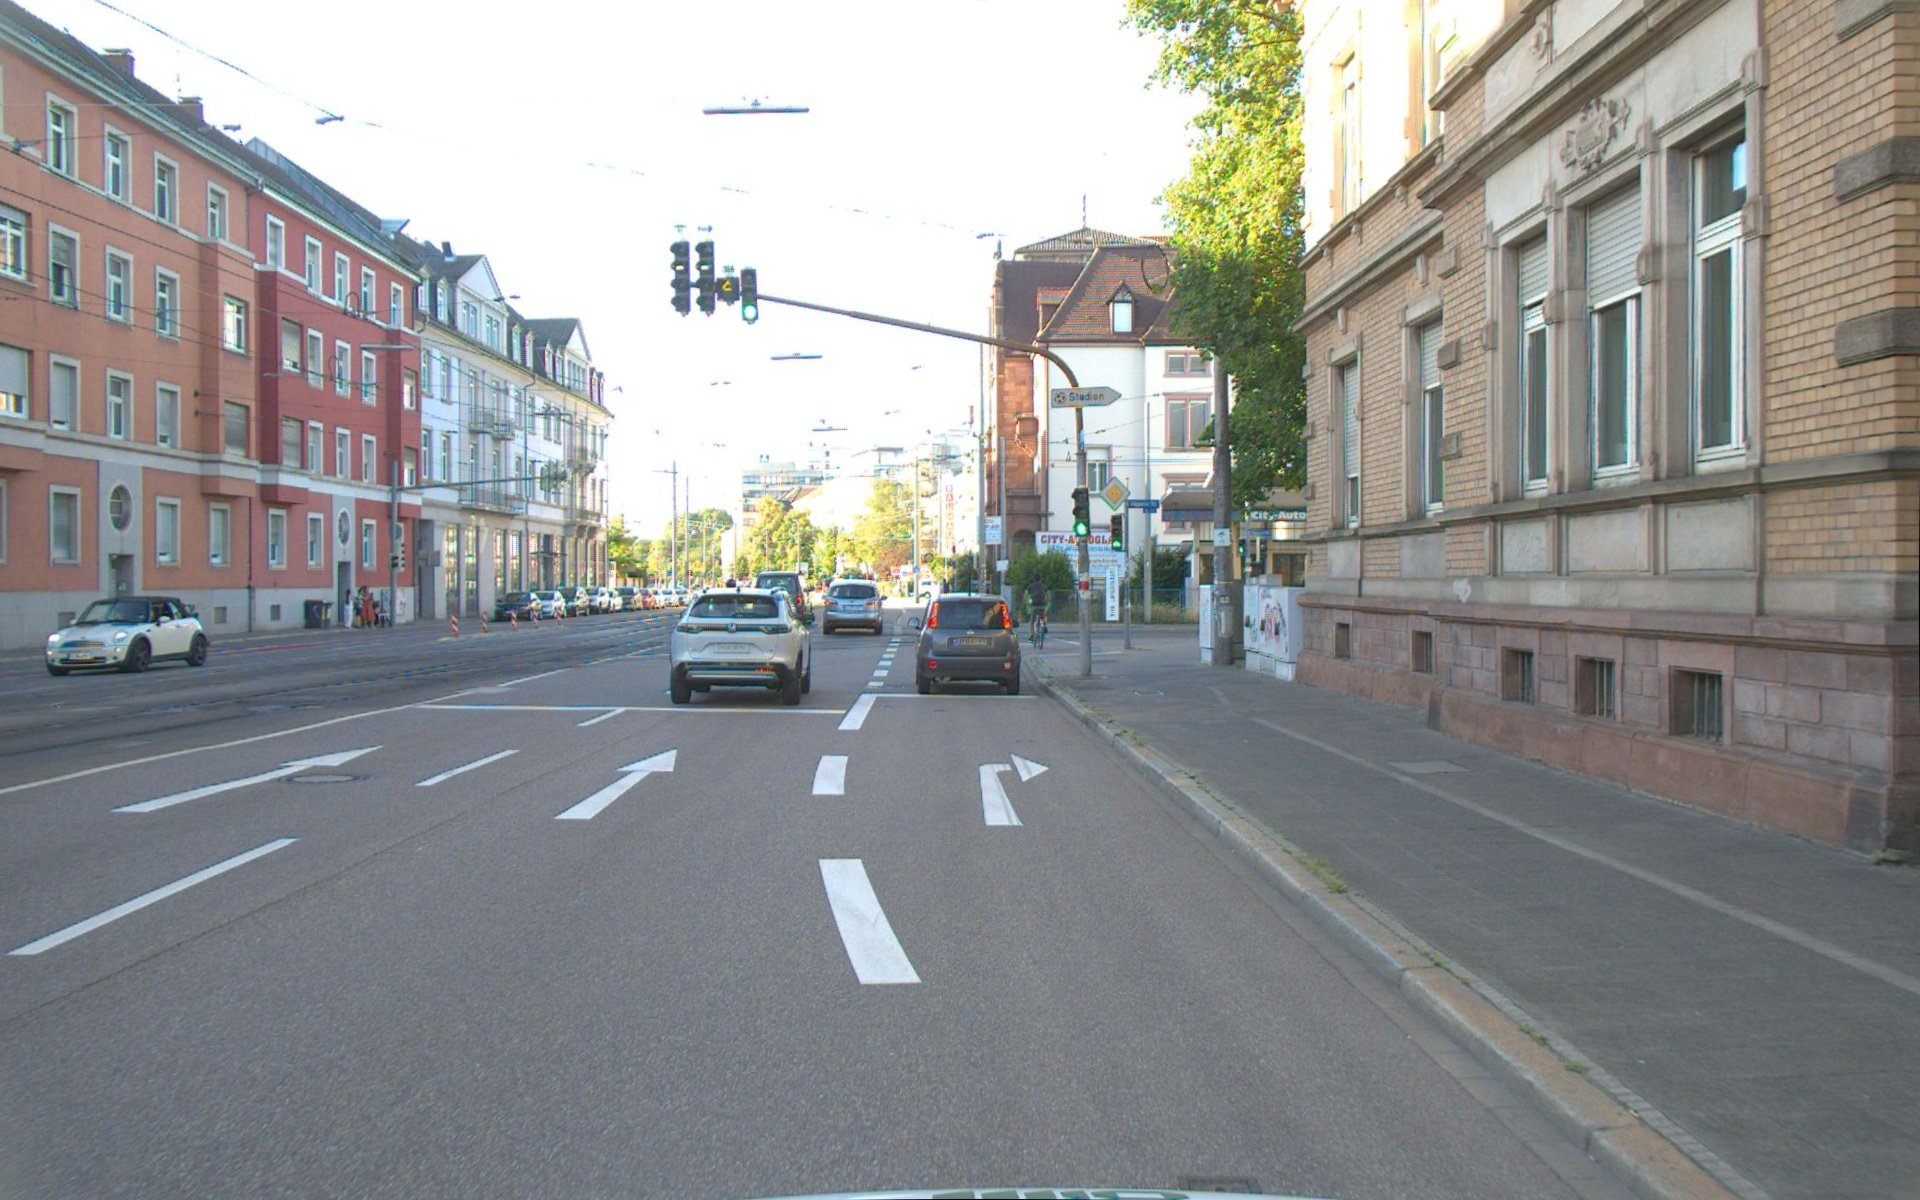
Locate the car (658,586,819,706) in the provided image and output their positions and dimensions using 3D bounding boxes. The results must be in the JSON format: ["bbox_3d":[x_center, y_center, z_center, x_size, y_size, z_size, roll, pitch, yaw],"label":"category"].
[{"bbox_3d":[-3.081,0.589,23.721,1.908,1.555,4.088,0,1,-2],"label":"car"}]

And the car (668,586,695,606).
[{"bbox_3d":[-23.370,-0.340,138.764,1.684,1.579,3.999,0,1,-1],"label":"car"}]

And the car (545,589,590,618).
[{"bbox_3d":[-21.802,0.188,91.984,1.684,1.579,3.855,0,1,-1],"label":"car"}]

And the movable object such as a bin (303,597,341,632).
[{"bbox_3d":[-23.789,0.532,61.680,0.852,1.271,1.234,0,0,5],"label":"movable object such as a bin"}]

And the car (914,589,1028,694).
[{"bbox_3d":[0.230,0.610,26.773,1.695,1.527,4.001,0,1,2],"label":"car"}]

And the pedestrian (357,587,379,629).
[{"bbox_3d":[-23.516,0.304,65.689,0.647,1.661,0.786,0,0,-33],"label":"pedestrian"}]

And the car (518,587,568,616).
[{"bbox_3d":[-21.892,0.050,87.027,1.684,1.477,3.999,0,1,-1],"label":"car"}]

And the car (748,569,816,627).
[{"bbox_3d":[-6.541,-0.077,61.253,2.128,2.044,4.807,0,0,-2],"label":"car"}]

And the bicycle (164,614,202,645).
[{"bbox_3d":[-23.746,0.887,50.561,0.327,0.906,1.605,0,0,3],"label":"bicycle"}]

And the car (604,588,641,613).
[{"bbox_3d":[-22.213,0.000,108.963,1.684,1.579,3.999,0,1,-1],"label":"car"}]

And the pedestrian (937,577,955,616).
[{"bbox_3d":[-0.691,-0.174,80.489,0.857,1.856,1.184,0,0,0],"label":"pedestrian"}]

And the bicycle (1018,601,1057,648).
[{"bbox_3d":[1.856,0.577,39.838,0.755,1.105,1.870,0,0,-3],"label":"bicycle"}]

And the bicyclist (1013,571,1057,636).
[{"bbox_3d":[1.801,0.091,40.039,0.820,1.552,0.990,0,0,-14],"label":"bicyclist"}]

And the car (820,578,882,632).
[{"bbox_3d":[-3.367,0.147,51.714,1.777,1.610,3.999,0,0,-2],"label":"car"}]

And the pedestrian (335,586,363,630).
[{"bbox_3d":[-23.441,0.293,63.421,0.776,1.661,0.655,0,0,17],"label":"pedestrian"}]

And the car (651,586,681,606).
[{"bbox_3d":[-22.749,-0.320,127.921,1.684,1.579,3.999,0,0,-1],"label":"car"}]

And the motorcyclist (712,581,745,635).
[{"bbox_3d":[-6.229,0.208,44.529,0.761,1.448,0.891,0,0,-2],"label":"motorcyclist"}]

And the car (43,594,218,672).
[{"bbox_3d":[-15.957,0.594,32.008,1.691,1.399,3.533,0,1,-2],"label":"car"}]

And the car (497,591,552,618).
[{"bbox_3d":[-21.411,0.200,81.457,1.684,1.254,3.999,0,1,-1],"label":"car"}]

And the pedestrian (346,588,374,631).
[{"bbox_3d":[-23.404,0.347,64.544,0.823,1.661,0.784,0,0,-39],"label":"pedestrian"}]

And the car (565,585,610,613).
[{"bbox_3d":[-22.215,-0.091,98.746,1.798,1.579,4.273,0,1,-1],"label":"car"}]

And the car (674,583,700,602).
[{"bbox_3d":[-23.901,-0.675,144.762,1.684,1.579,3.999,0,1,-1],"label":"car"}]

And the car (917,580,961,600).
[{"bbox_3d":[-2.123,-1.000,168.178,4.181,2.049,1.995,0,0,-11],"label":"car"}]

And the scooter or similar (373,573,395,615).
[{"bbox_3d":[-23.066,-0.239,66.236,0.647,1.661,0.786,0,0,-33],"label":"scooter or similar"}]
